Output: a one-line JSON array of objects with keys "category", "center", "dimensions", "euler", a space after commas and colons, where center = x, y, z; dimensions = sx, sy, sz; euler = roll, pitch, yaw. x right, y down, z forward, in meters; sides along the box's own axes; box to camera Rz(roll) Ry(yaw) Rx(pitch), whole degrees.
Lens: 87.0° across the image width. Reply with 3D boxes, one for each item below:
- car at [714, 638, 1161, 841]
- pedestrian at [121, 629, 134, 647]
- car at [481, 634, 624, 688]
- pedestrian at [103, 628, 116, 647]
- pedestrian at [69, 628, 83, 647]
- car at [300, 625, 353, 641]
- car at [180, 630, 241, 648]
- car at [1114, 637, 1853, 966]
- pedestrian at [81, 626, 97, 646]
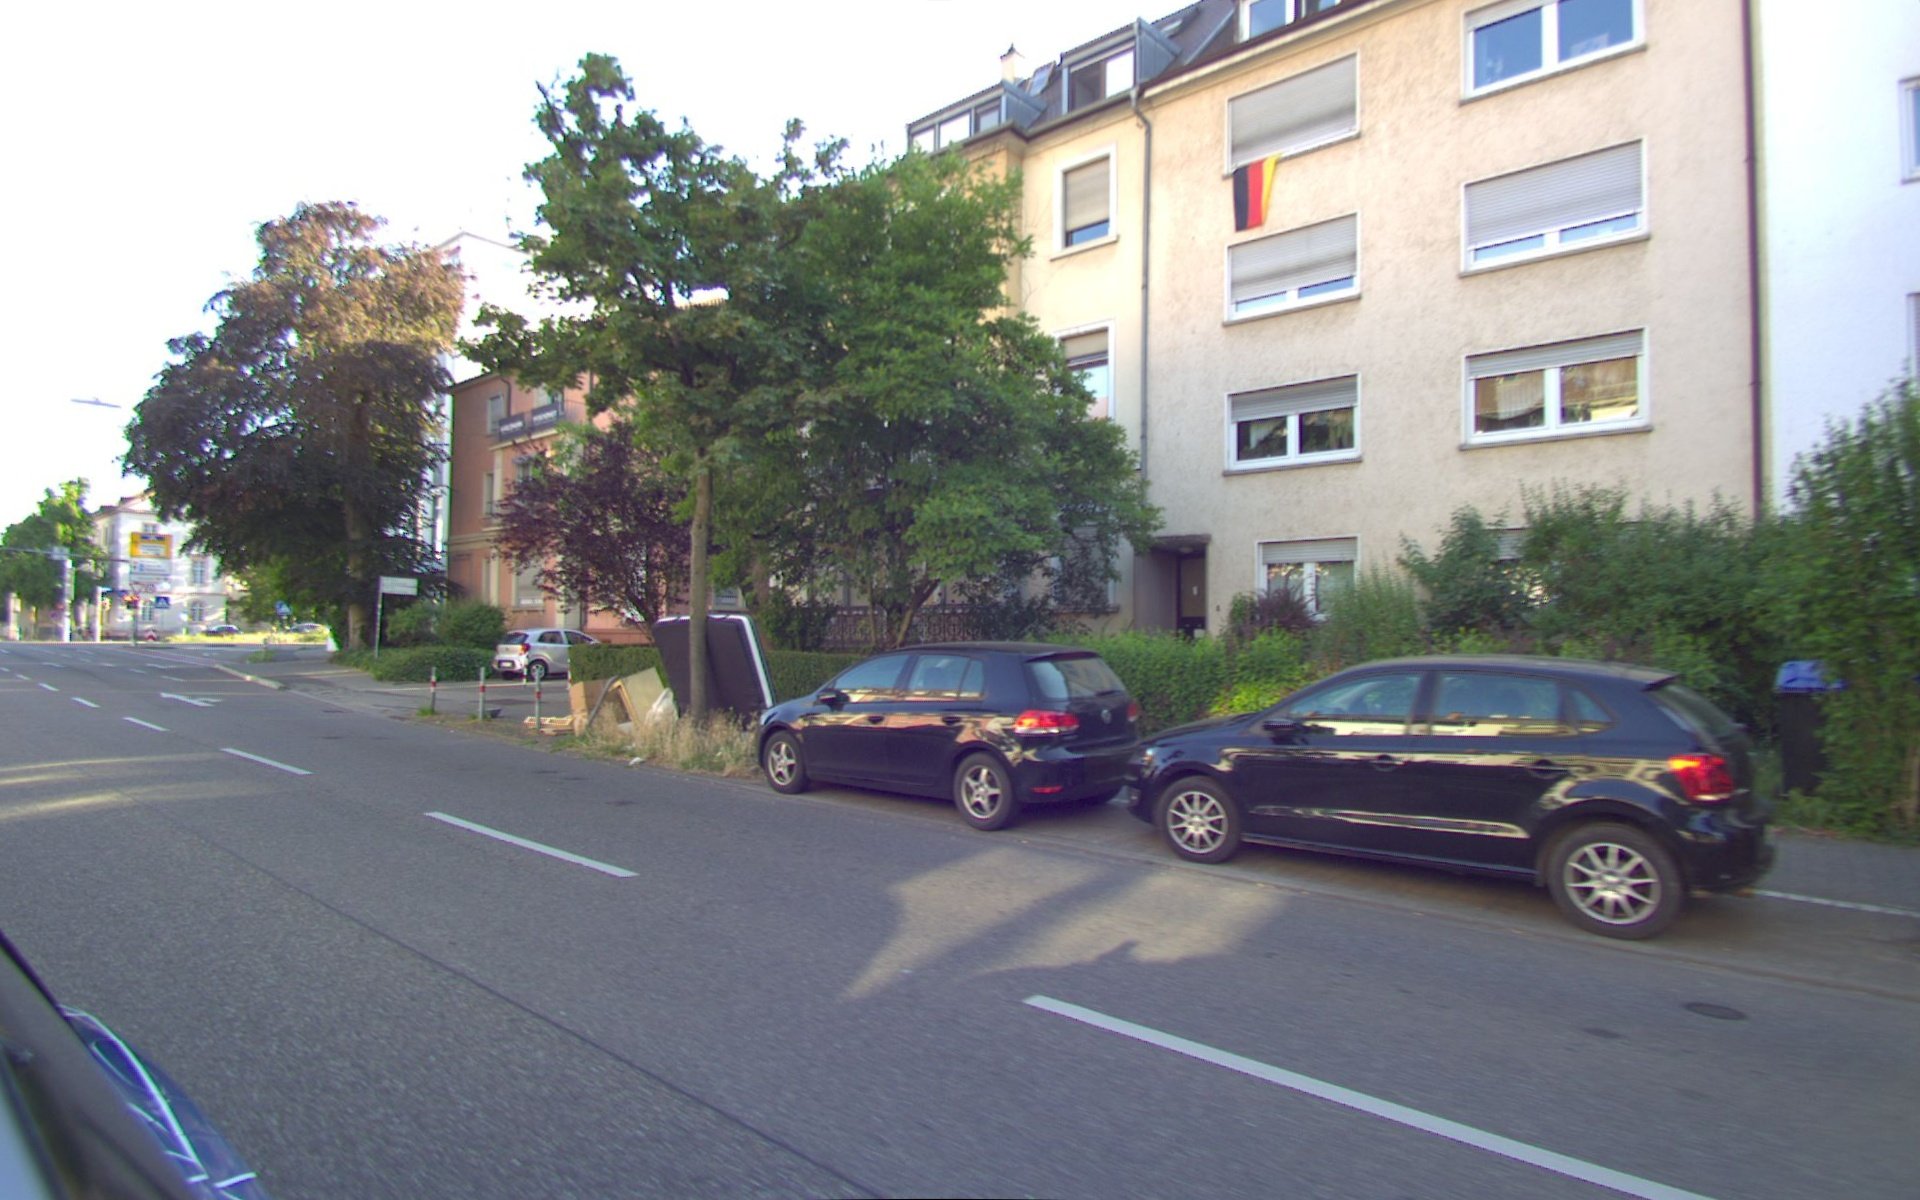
[{"category": "car", "center": [-0.368, 1.129, 9.648], "dimensions": [4.194, 1.514, 1.732], "euler": [-2, -3, 41]}, {"category": "pedestrian", "center": [-75.999, 3.444, 92.385], "dimensions": [0.880, 1.663, 0.671], "euler": [-1, -3, 32]}, {"category": "car", "center": [-11.938, 1.756, 29.774], "dimensions": [1.812, 1.497, 3.465], "euler": [-2, -3, 37]}, {"category": "pedestrian", "center": [-76.822, 3.403, 91.396], "dimensions": [0.887, 1.663, 0.614], "euler": [-1, -3, 32]}, {"category": "pedestrian", "center": [-81.598, 3.429, 93.426], "dimensions": [1.081, 1.721, 0.671], "euler": [-1, -3, 32]}, {"category": "car", "center": [-57.204, 2.994, 91.448], "dimensions": [1.996, 1.457, 3.602], "euler": [-2, -3, 36]}, {"category": "car", "center": [-62.121, 3.203, 83.903], "dimensions": [1.996, 1.457, 3.602], "euler": [-2, -3, 36]}, {"category": "car", "center": [3.174, 1.011, 6.662], "dimensions": [3.976, 1.514, 1.732], "euler": [-2, -3, 41]}, {"category": "pedestrian", "center": [-81.227, 3.388, 94.395], "dimensions": [1.166, 1.863, 0.812], "euler": [-1, -3, 32]}]
